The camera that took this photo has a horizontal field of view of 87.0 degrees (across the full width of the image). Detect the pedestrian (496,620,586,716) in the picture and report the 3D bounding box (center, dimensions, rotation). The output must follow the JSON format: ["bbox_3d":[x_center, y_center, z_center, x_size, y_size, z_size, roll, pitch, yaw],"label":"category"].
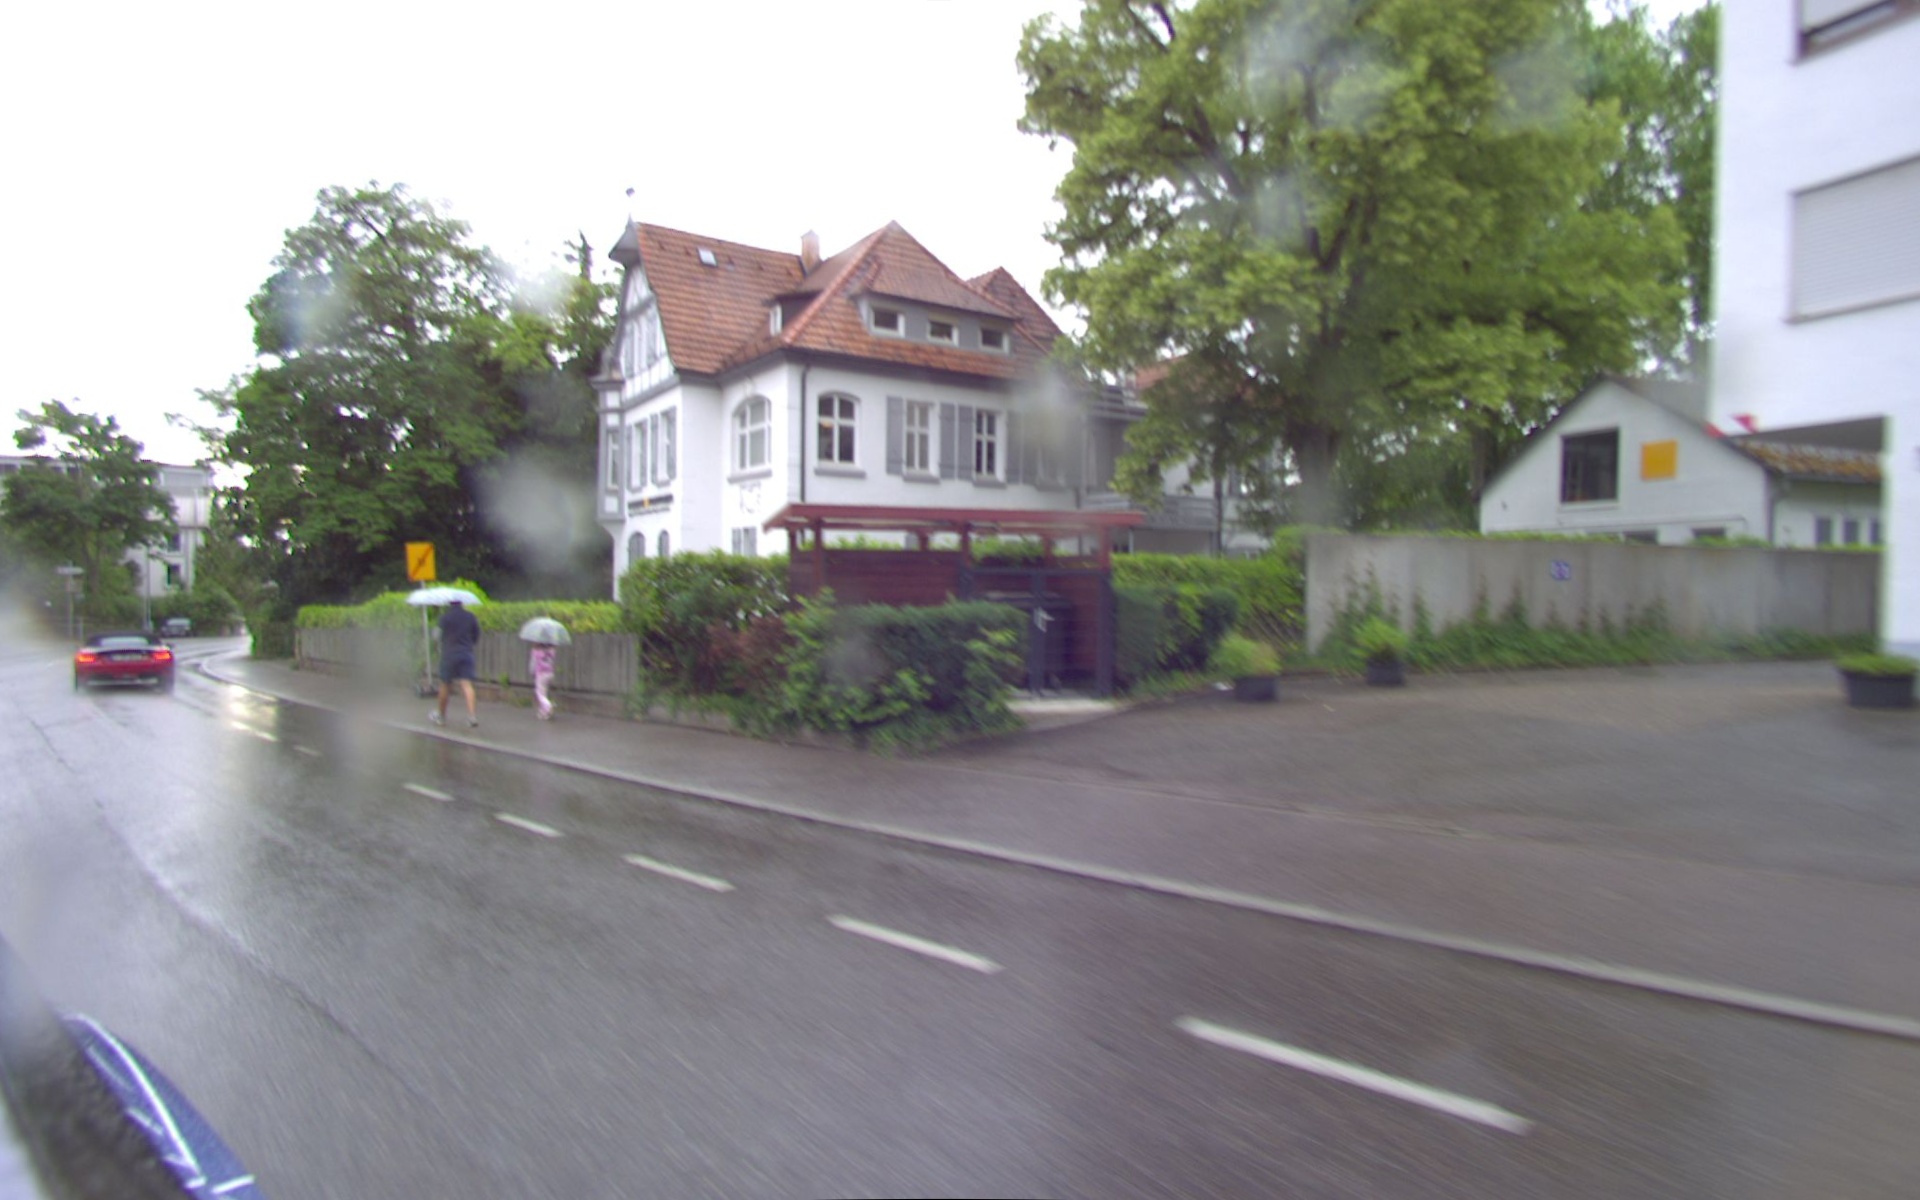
[{"bbox_3d":[-5.615,0.883,13.555,0.747,1.188,1.040,-3,1,-45],"label":"pedestrian"}]

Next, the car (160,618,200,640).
[{"bbox_3d":[-62.053,2.310,80.568,1.756,1.582,4.742,-2,0,-29],"label":"car"}]

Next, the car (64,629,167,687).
[{"bbox_3d":[-19.079,1.241,22.809,1.658,1.155,4.005,0,-1,-41],"label":"car"}]

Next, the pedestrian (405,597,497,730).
[{"bbox_3d":[-6.753,0.811,13.420,0.747,1.656,1.040,-3,1,-45],"label":"pedestrian"}]
